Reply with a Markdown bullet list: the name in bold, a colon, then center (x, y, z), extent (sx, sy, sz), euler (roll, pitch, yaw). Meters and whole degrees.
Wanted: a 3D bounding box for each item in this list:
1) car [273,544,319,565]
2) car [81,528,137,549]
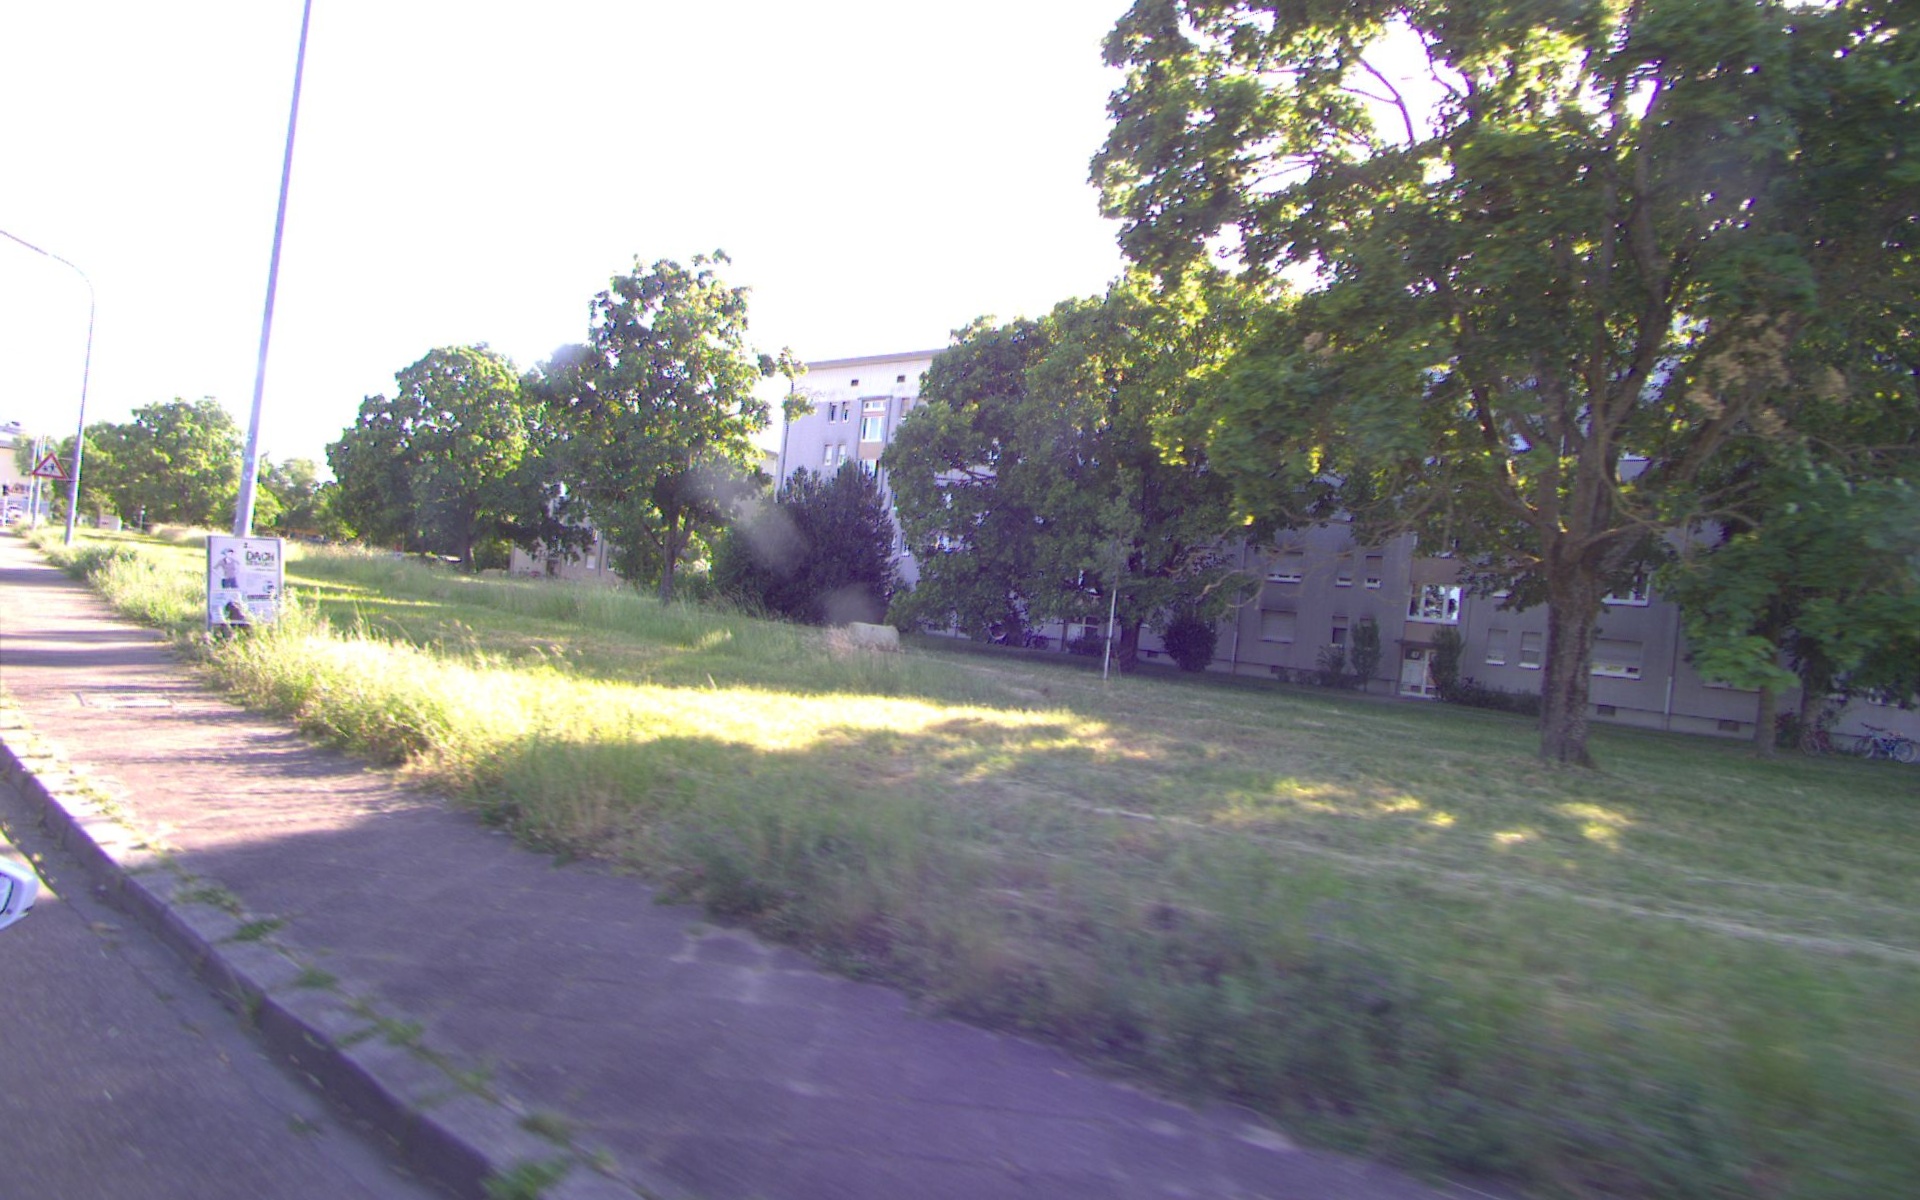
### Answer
- **car**: center (-67.868, -4.655, 102.849), extent (3.673, 1.636, 1.688), euler (6, -3, -30)
- **car**: center (-80.730, -5.815, 95.501), extent (3.673, 1.458, 1.688), euler (6, -3, -30)
